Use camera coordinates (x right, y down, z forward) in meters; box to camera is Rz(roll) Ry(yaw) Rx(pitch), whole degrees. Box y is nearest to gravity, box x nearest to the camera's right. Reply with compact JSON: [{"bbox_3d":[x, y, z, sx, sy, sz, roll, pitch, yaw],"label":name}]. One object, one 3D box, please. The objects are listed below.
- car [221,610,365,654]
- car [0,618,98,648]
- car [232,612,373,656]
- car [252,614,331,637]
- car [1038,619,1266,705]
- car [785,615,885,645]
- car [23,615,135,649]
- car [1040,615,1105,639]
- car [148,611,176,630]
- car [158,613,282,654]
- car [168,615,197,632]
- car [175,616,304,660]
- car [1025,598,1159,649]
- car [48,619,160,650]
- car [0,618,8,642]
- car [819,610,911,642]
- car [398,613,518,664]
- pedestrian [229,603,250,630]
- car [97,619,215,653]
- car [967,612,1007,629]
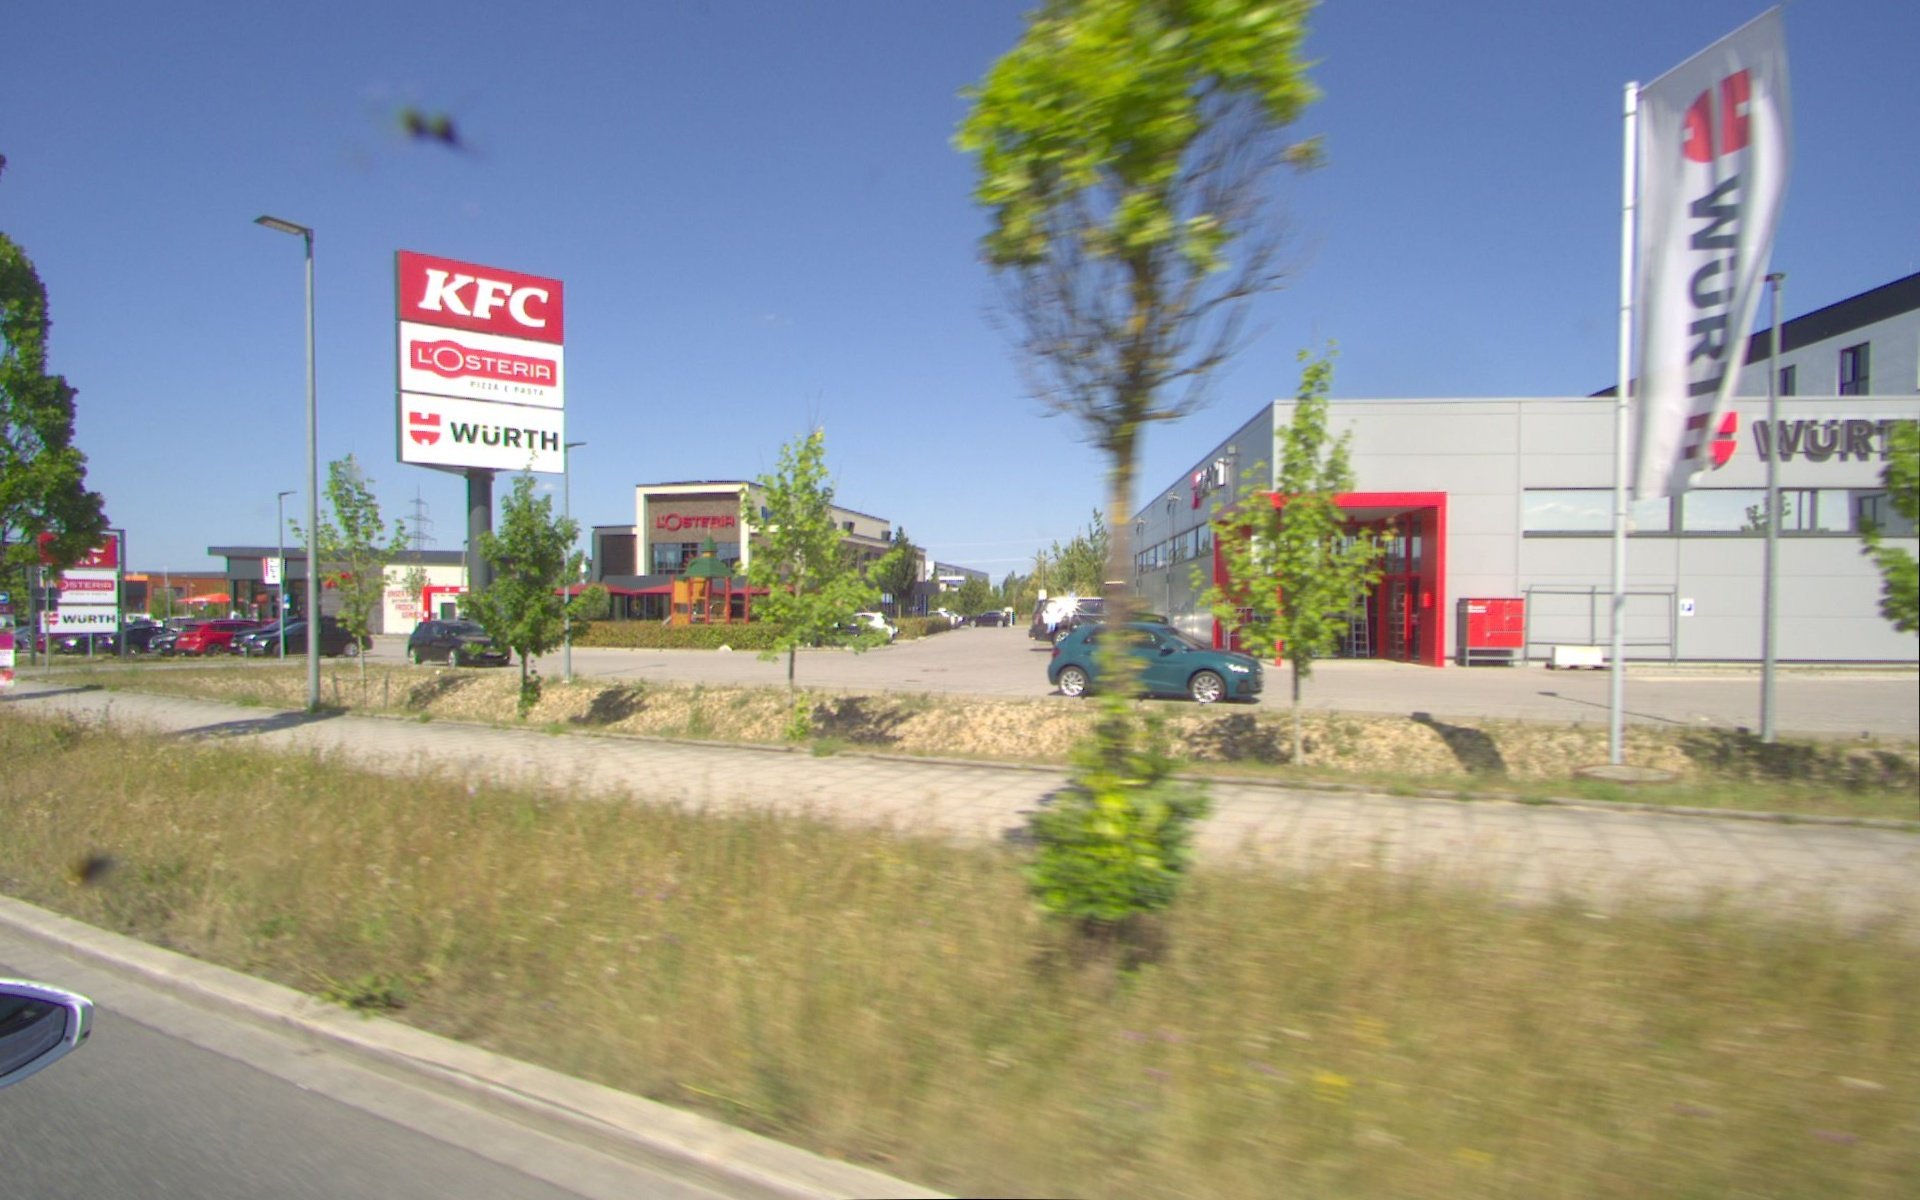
[{"bbox_3d":[-29.302,1.347,44.200,1.910,1.758,4.976,0,1,29],"label":"car"},{"bbox_3d":[-51.628,1.793,56.219,1.838,1.510,4.555,0,0,24],"label":"car"},{"bbox_3d":[-26.668,1.341,40.791,1.965,1.587,4.400,0,0,29],"label":"car"},{"bbox_3d":[-46.862,1.749,70.303,1.834,1.450,4.565,0,0,13],"label":"car"},{"bbox_3d":[3.554,1.092,18.724,3.938,1.426,1.512,0,0,29],"label":"car"},{"bbox_3d":[-5.355,1.281,43.179,4.055,1.228,1.654,0,0,2],"label":"car"},{"bbox_3d":[-47.569,1.697,54.155,1.839,1.687,4.150,0,1,28],"label":"car"},{"bbox_3d":[7.123,1.733,63.671,4.029,1.481,1.702,0,0,3],"label":"car"},{"bbox_3d":[-78.357,1.995,98.351,1.767,1.780,4.143,0,0,-33],"label":"car"},{"bbox_3d":[-34.792,1.521,47.198,1.765,1.758,4.398,0,1,31],"label":"car"},{"bbox_3d":[-71.071,2.142,91.575,1.767,1.470,4.143,0,0,-33],"label":"car"},{"bbox_3d":[-32.302,1.654,45.007,1.766,1.758,4.394,0,1,34],"label":"car"},{"bbox_3d":[4.848,0.868,37.270,4.828,1.839,2.049,0,0,5],"label":"car"},{"bbox_3d":[-45.334,1.805,53.148,1.760,1.468,4.156,0,0,22],"label":"car"},{"bbox_3d":[-60.482,1.847,60.305,1.836,1.510,4.208,0,0,20],"label":"car"},{"bbox_3d":[-4.516,1.247,47.925,4.150,1.491,1.702,0,0,2],"label":"car"},{"bbox_3d":[-16.276,1.216,32.425,4.114,1.560,1.775,-1,-1,36],"label":"car"},{"bbox_3d":[-53.631,1.223,74.502,0.875,2.040,0.914,0,0,17],"label":"pedestrian"},{"bbox_3d":[-38.750,1.715,48.315,4.372,1.469,1.775,0,1,-41],"label":"car"},{"bbox_3d":[2.692,2.039,98.663,3.713,1.610,1.626,0,0,11],"label":"car"}]
